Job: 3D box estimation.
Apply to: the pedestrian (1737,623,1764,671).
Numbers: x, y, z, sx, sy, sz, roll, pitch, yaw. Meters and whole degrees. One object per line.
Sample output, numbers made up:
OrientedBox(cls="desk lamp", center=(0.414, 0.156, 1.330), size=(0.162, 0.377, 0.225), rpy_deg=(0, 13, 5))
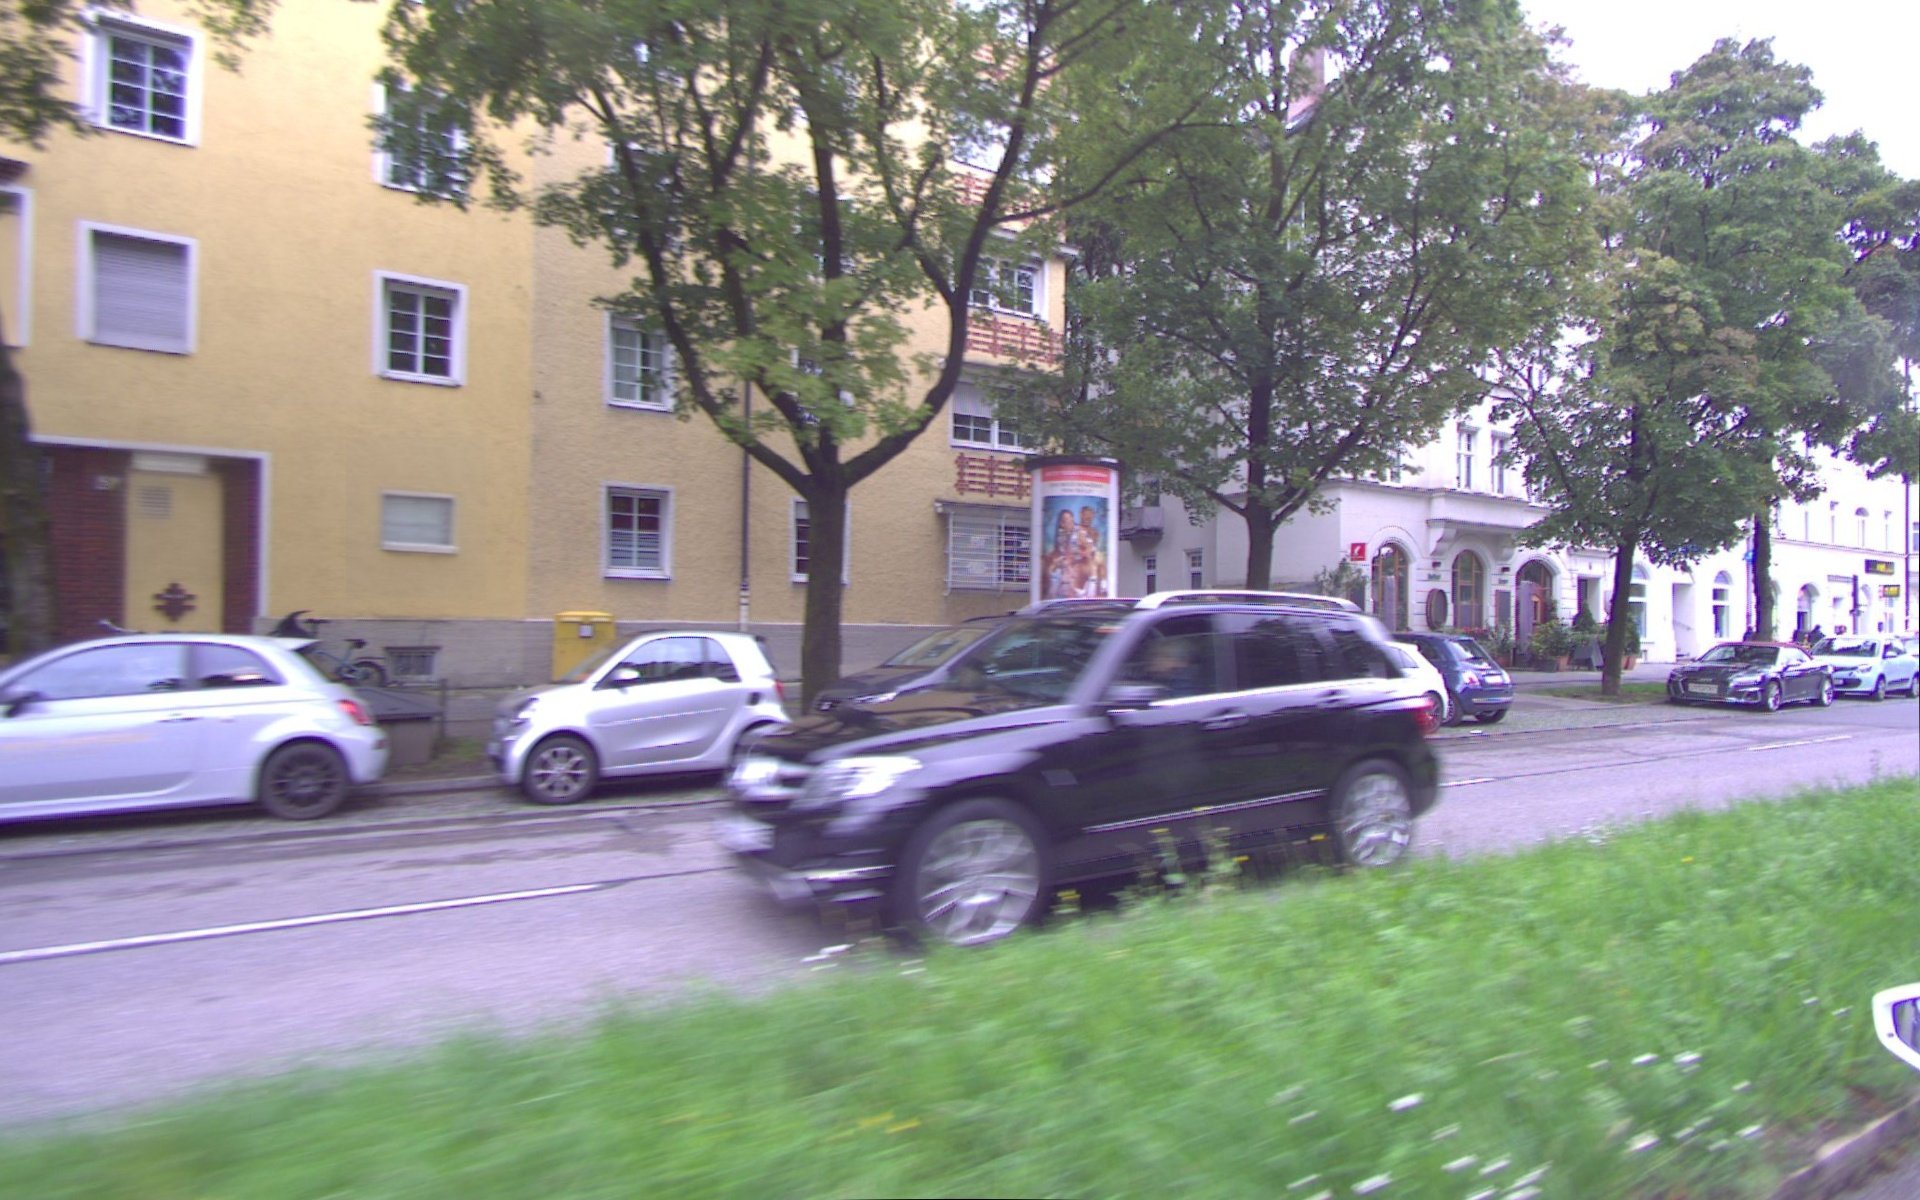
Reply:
OrientedBox(cls="pedestrian", center=(28.249, 1.669, 35.887), size=(0.762, 1.719, 0.540), rpy_deg=(1, -1, -32))

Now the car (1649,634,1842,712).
OrientedBox(cls="car", center=(17.250, 1.536, 22.009), size=(4.591, 1.527, 1.802), rpy_deg=(1, -1, -31))

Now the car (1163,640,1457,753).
OrientedBox(cls="car", center=(5.216, 1.315, 14.812), size=(4.353, 1.421, 1.718), rpy_deg=(1, -1, -31))

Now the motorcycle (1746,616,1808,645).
OrientedBox(cls="motorcycle", center=(34.020, 1.264, 41.852), size=(1.947, 1.145, 0.610), rpy_deg=(1, -1, 10))

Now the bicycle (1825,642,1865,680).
OrientedBox(cls="bicycle", center=(28.540, 1.947, 32.415), size=(0.539, 1.130, 1.879), rpy_deg=(0, -1, 28))

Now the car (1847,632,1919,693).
OrientedBox(cls="car", center=(26.323, 1.679, 27.559), size=(4.241, 1.527, 1.802), rpy_deg=(1, -1, -31))

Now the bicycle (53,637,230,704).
OrientedBox(cls="bicycle", center=(-11.768, 0.994, 14.522), size=(1.908, 0.911, 0.539), rpy_deg=(1, -1, -31))

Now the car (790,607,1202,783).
OrientedBox(cls="car", center=(0.522, 1.002, 12.009), size=(4.712, 1.751, 1.802), rpy_deg=(1, -1, -31))

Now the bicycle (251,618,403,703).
OrientedBox(cls="bicycle", center=(-9.665, 0.906, 15.428), size=(1.908, 1.238, 0.766), rpy_deg=(1, -1, -31))

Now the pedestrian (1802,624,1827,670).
OrientedBox(cls="pedestrian", center=(32.871, 1.796, 38.658), size=(0.583, 1.719, 0.943), rpy_deg=(0, -1, 32))

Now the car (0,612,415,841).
OrientedBox(cls="car", center=(-6.650, 0.903, 7.989), size=(4.010, 1.582, 1.718), rpy_deg=(1, -1, -31))

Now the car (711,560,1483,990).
OrientedBox(cls="car", center=(0.923, 0.767, 5.864), size=(4.318, 1.701, 1.761), rpy_deg=(1, -3, -31))

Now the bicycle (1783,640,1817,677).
OrientedBox(cls="bicycle", center=(27.184, 1.888, 32.529), size=(0.450, 1.130, 1.964), rpy_deg=(0, -1, 28))

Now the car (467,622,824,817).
OrientedBox(cls="car", center=(-3.041, 1.028, 9.769), size=(2.977, 1.578, 1.717), rpy_deg=(1, -1, -33))

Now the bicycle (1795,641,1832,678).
OrientedBox(cls="bicycle", center=(27.726, 1.924, 32.662), size=(0.495, 1.130, 1.986), rpy_deg=(0, -1, 28))

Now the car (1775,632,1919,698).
OrientedBox(cls="car", center=(22.545, 1.597, 25.368), size=(3.914, 1.527, 1.802), rpy_deg=(1, -1, -31))

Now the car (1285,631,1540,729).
OrientedBox(cls="car", center=(7.889, 1.324, 17.857), size=(1.713, 1.483, 3.869), rpy_deg=(1, -1, -31))

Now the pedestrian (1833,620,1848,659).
OrientedBox(cls="pedestrian", center=(37.817, 1.681, 43.129), size=(0.777, 1.653, 0.418), rpy_deg=(1, -1, -43))
